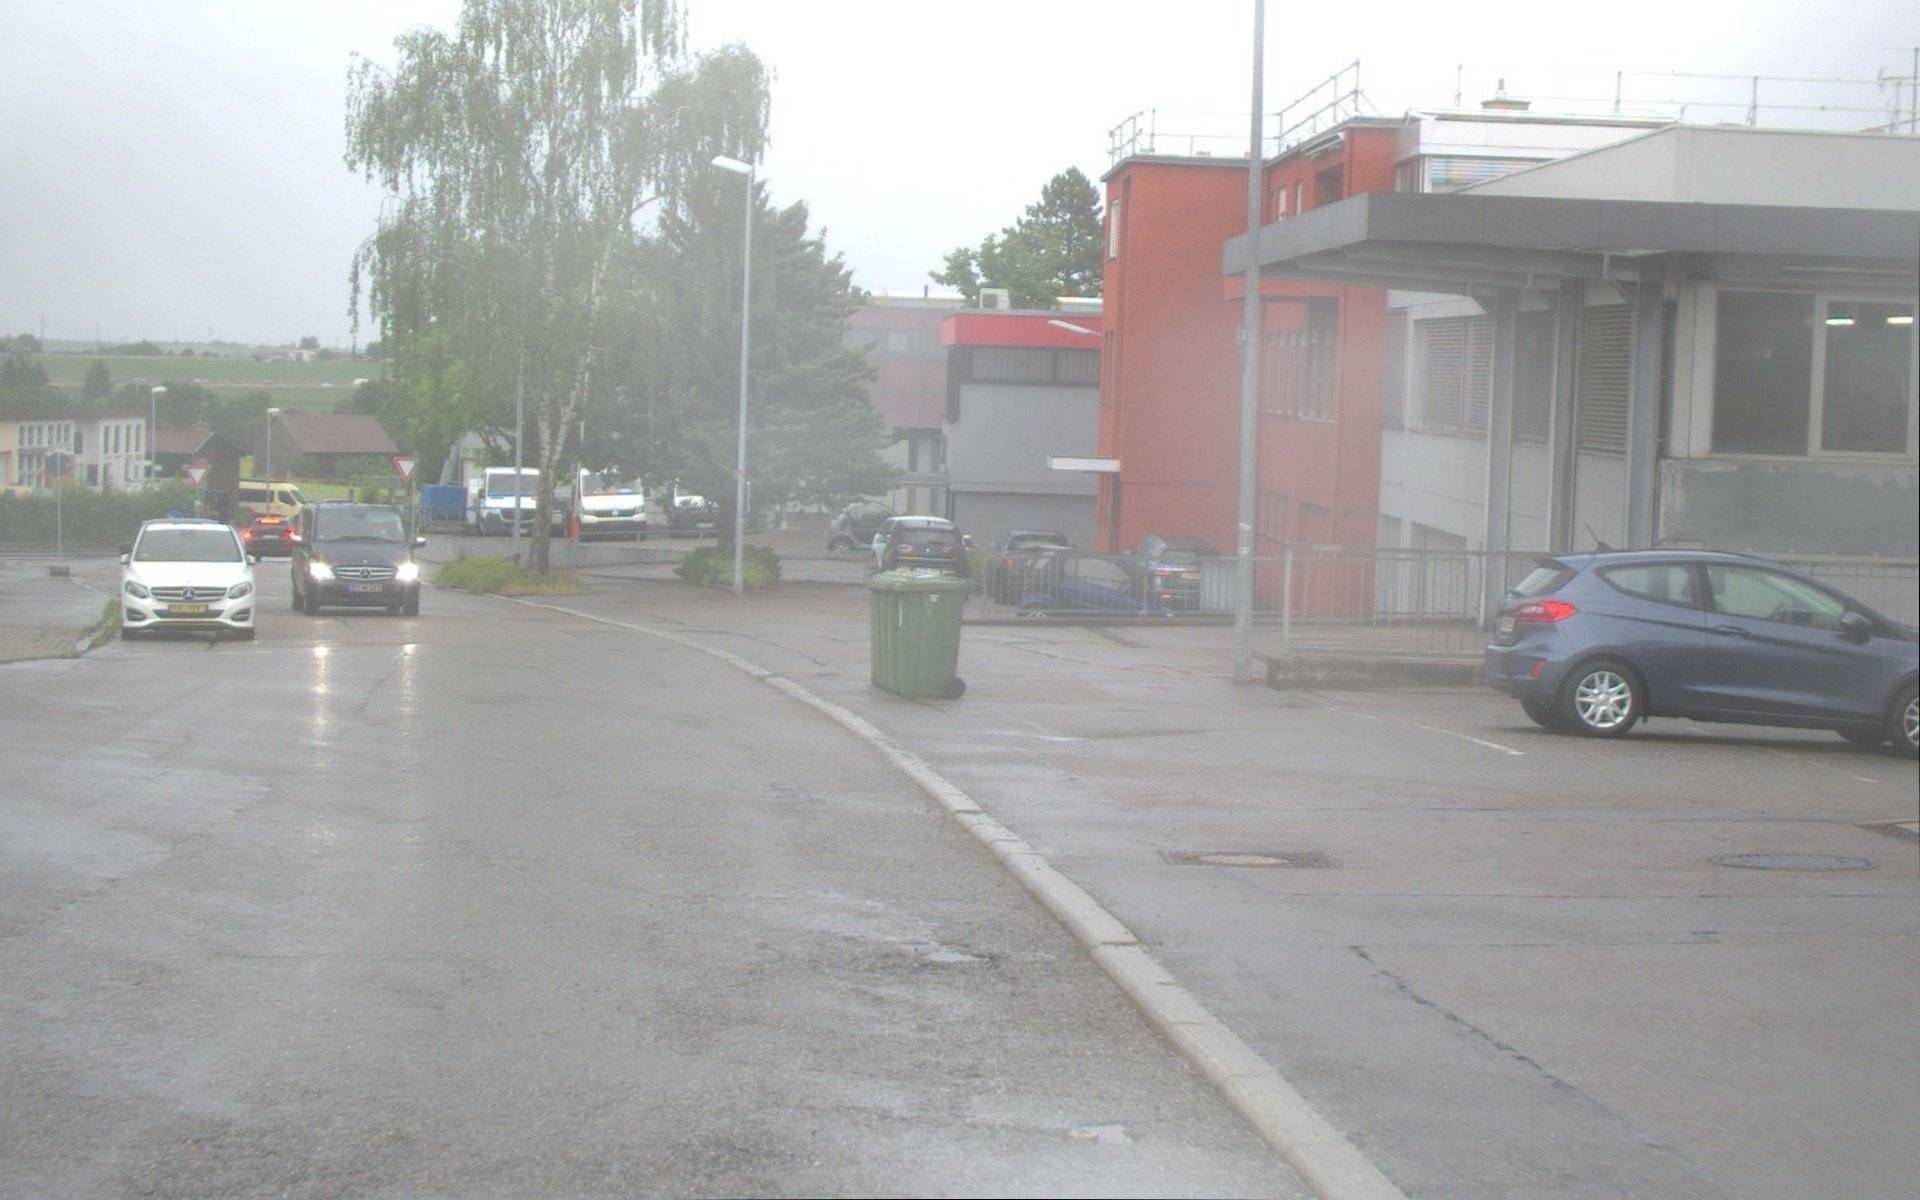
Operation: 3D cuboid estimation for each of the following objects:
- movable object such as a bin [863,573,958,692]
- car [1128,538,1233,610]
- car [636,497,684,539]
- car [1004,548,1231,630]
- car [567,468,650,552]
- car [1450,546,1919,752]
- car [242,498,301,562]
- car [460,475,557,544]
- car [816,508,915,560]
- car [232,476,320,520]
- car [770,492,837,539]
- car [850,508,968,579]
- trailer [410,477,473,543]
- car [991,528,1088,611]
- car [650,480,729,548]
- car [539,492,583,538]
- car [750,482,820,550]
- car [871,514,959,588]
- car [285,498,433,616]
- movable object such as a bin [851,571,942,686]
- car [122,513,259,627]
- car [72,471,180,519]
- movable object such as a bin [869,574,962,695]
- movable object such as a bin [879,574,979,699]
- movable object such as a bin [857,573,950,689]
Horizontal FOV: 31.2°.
[{"bbox_3d":[-0.462,0.297,31.841,0.809,1.087,0.542,1,1,-7],"label":"movable object such as a bin"},{"bbox_3d":[4.528,-0.531,70.999,1.729,1.417,4.000,1,0,-2],"label":"car"},{"bbox_3d":[-9.809,-2.668,112.301,1.398,1.321,2.702,1,0,-9],"label":"car"},{"bbox_3d":[2.416,-0.177,53.329,3.400,1.159,1.792,1,1,0],"label":"car"},{"bbox_3d":[-10.837,-2.739,105.665,2.192,2.451,4.001,1,0,-10],"label":"car"},{"bbox_3d":[5.918,0.381,26.521,3.894,1.379,1.821,3,0,-3],"label":"car"},{"bbox_3d":[-22.773,-2.301,113.785,1.869,2.022,4.001,1,0,-11],"label":"car"},{"bbox_3d":[-13.827,-2.740,105.127,2.264,2.007,4.001,1,0,-17],"label":"car"},{"bbox_3d":[-2.574,-1.790,93.119,2.547,1.347,1.242,1,1,-7],"label":"car"},{"bbox_3d":[-36.561,-5.430,183.785,4.241,2.218,2.000,1,0,4],"label":"car"},{"bbox_3d":[-5.158,-2.774,113.065,1.636,1.448,3.512,1,0,-12],"label":"car"},{"bbox_3d":[-1.190,-1.275,78.527,2.064,1.547,4.001,1,0,-10],"label":"car"},{"bbox_3d":[-16.476,-2.837,109.045,1.852,2.007,4.001,1,1,-10],"label":"trailer"},{"bbox_3d":[1.639,-0.628,71.752,1.739,1.648,4.000,1,0,-2],"label":"car"},{"bbox_3d":[-8.418,-2.649,106.710,2.145,2.007,3.940,1,0,-9],"label":"car"},{"bbox_3d":[-12.918,-2.751,111.194,1.290,1.419,2.547,1,0,-9],"label":"car"},{"bbox_3d":[-5.480,-2.599,107.182,1.780,2.007,3.633,1,0,-9],"label":"car"},{"bbox_3d":[-0.955,-0.991,71.055,1.697,1.470,4.000,1,0,-2],"label":"car"},{"bbox_3d":[-10.313,-0.763,58.732,1.884,1.880,5.074,1,1,-17],"label":"car"},{"bbox_3d":[-0.611,0.269,32.999,0.801,1.075,0.625,1,1,-7],"label":"movable object such as a bin"},{"bbox_3d":[-10.688,-0.411,47.595,1.769,1.507,4.146,0,0,-14],"label":"car"},{"bbox_3d":[-34.480,-4.325,142.196,3.986,1.875,2.000,1,1,-2],"label":"car"},{"bbox_3d":[-0.405,0.310,31.268,0.775,1.072,0.584,1,1,-7],"label":"movable object such as a bin"},{"bbox_3d":[-0.281,0.318,30.625,0.806,1.089,0.709,1,1,-7],"label":"movable object such as a bin"},{"bbox_3d":[-0.534,0.291,32.398,0.808,1.073,0.582,1,1,-7],"label":"movable object such as a bin"}]
